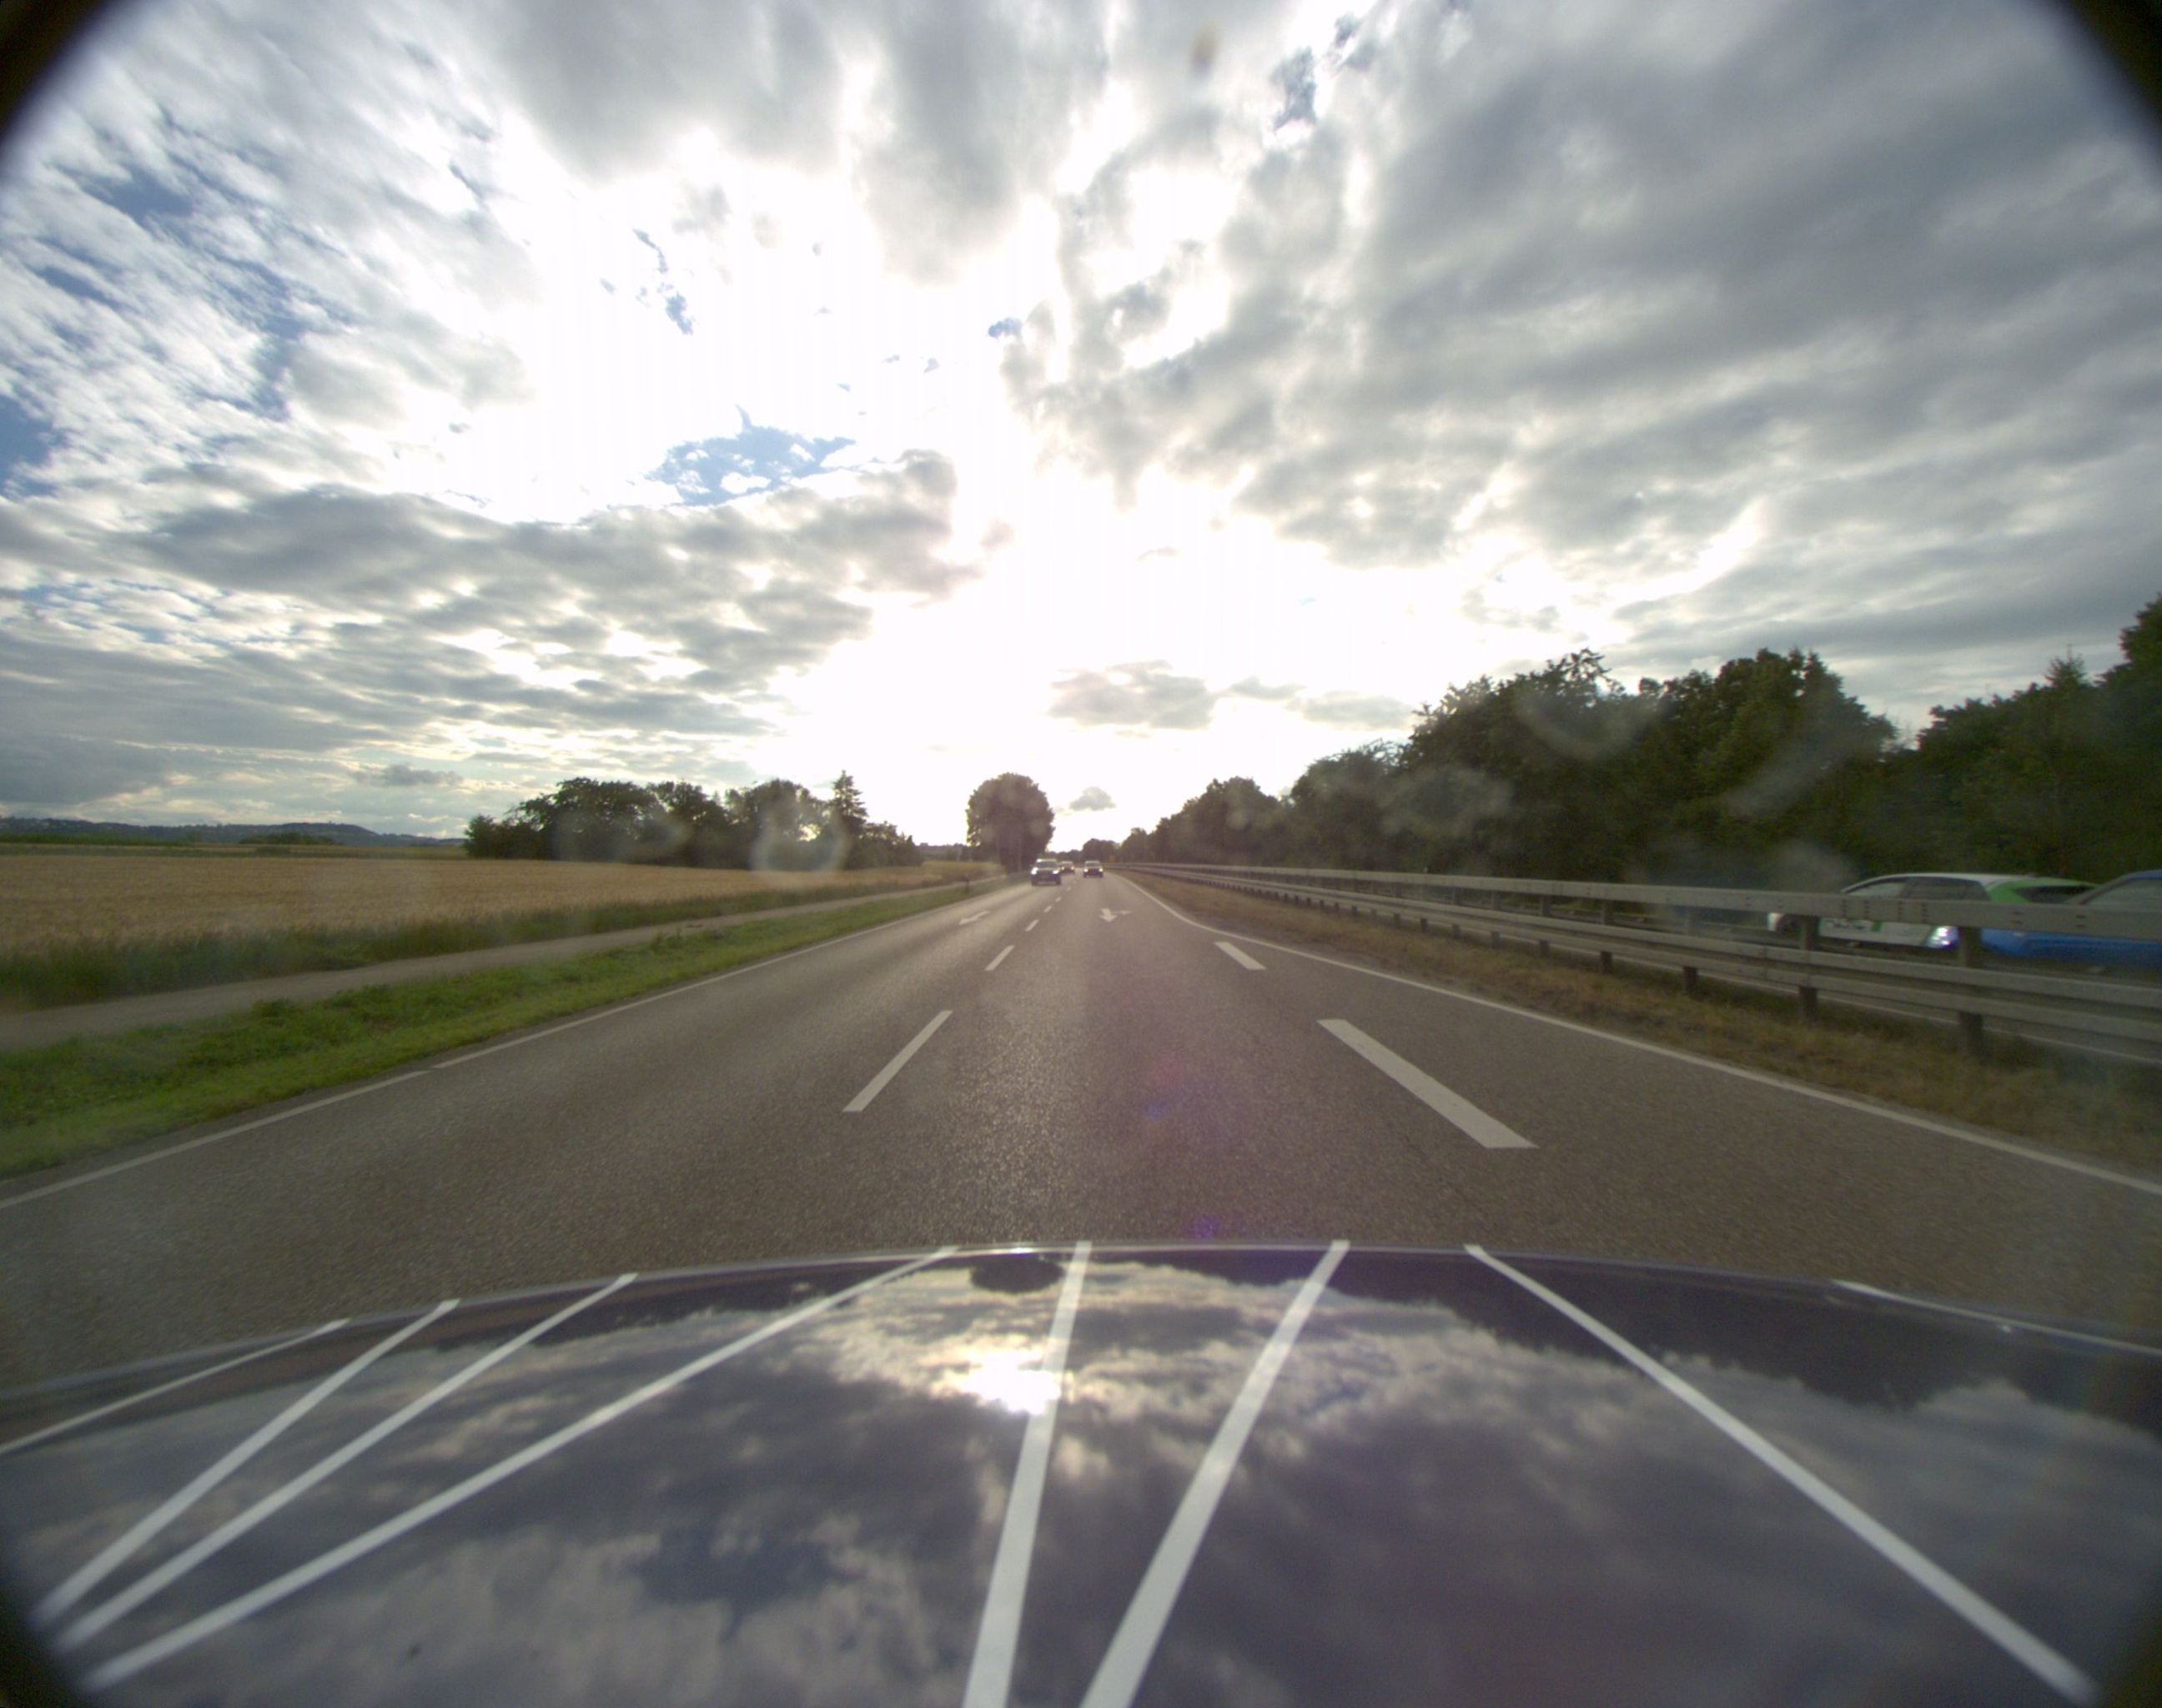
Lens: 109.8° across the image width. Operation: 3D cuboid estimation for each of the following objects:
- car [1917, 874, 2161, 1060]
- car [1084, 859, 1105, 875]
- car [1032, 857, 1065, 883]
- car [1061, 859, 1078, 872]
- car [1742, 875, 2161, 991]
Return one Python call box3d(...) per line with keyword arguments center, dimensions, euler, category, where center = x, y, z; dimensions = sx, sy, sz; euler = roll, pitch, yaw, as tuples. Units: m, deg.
box3d(center=(9.586, 0.923, 6.060), dimensions=(1.773, 1.459, 3.712), euler=(0, 0, 1), category="car")
box3d(center=(1.173, 1.131, 67.317), dimensions=(1.775, 1.389, 4.000), euler=(-1, 0, -1), category="car")
box3d(center=(-2.110, 1.027, 50.521), dimensions=(1.863, 1.636, 4.000), euler=(-1, 0, 1), category="car")
box3d(center=(-1.359, 1.397, 90.989), dimensions=(1.823, 1.409, 4.000), euler=(-1, 0, 0), category="car")
box3d(center=(13.239, 1.081, 12.006), dimensions=(1.763, 1.404, 4.459), euler=(0, 0, 1), category="car")
